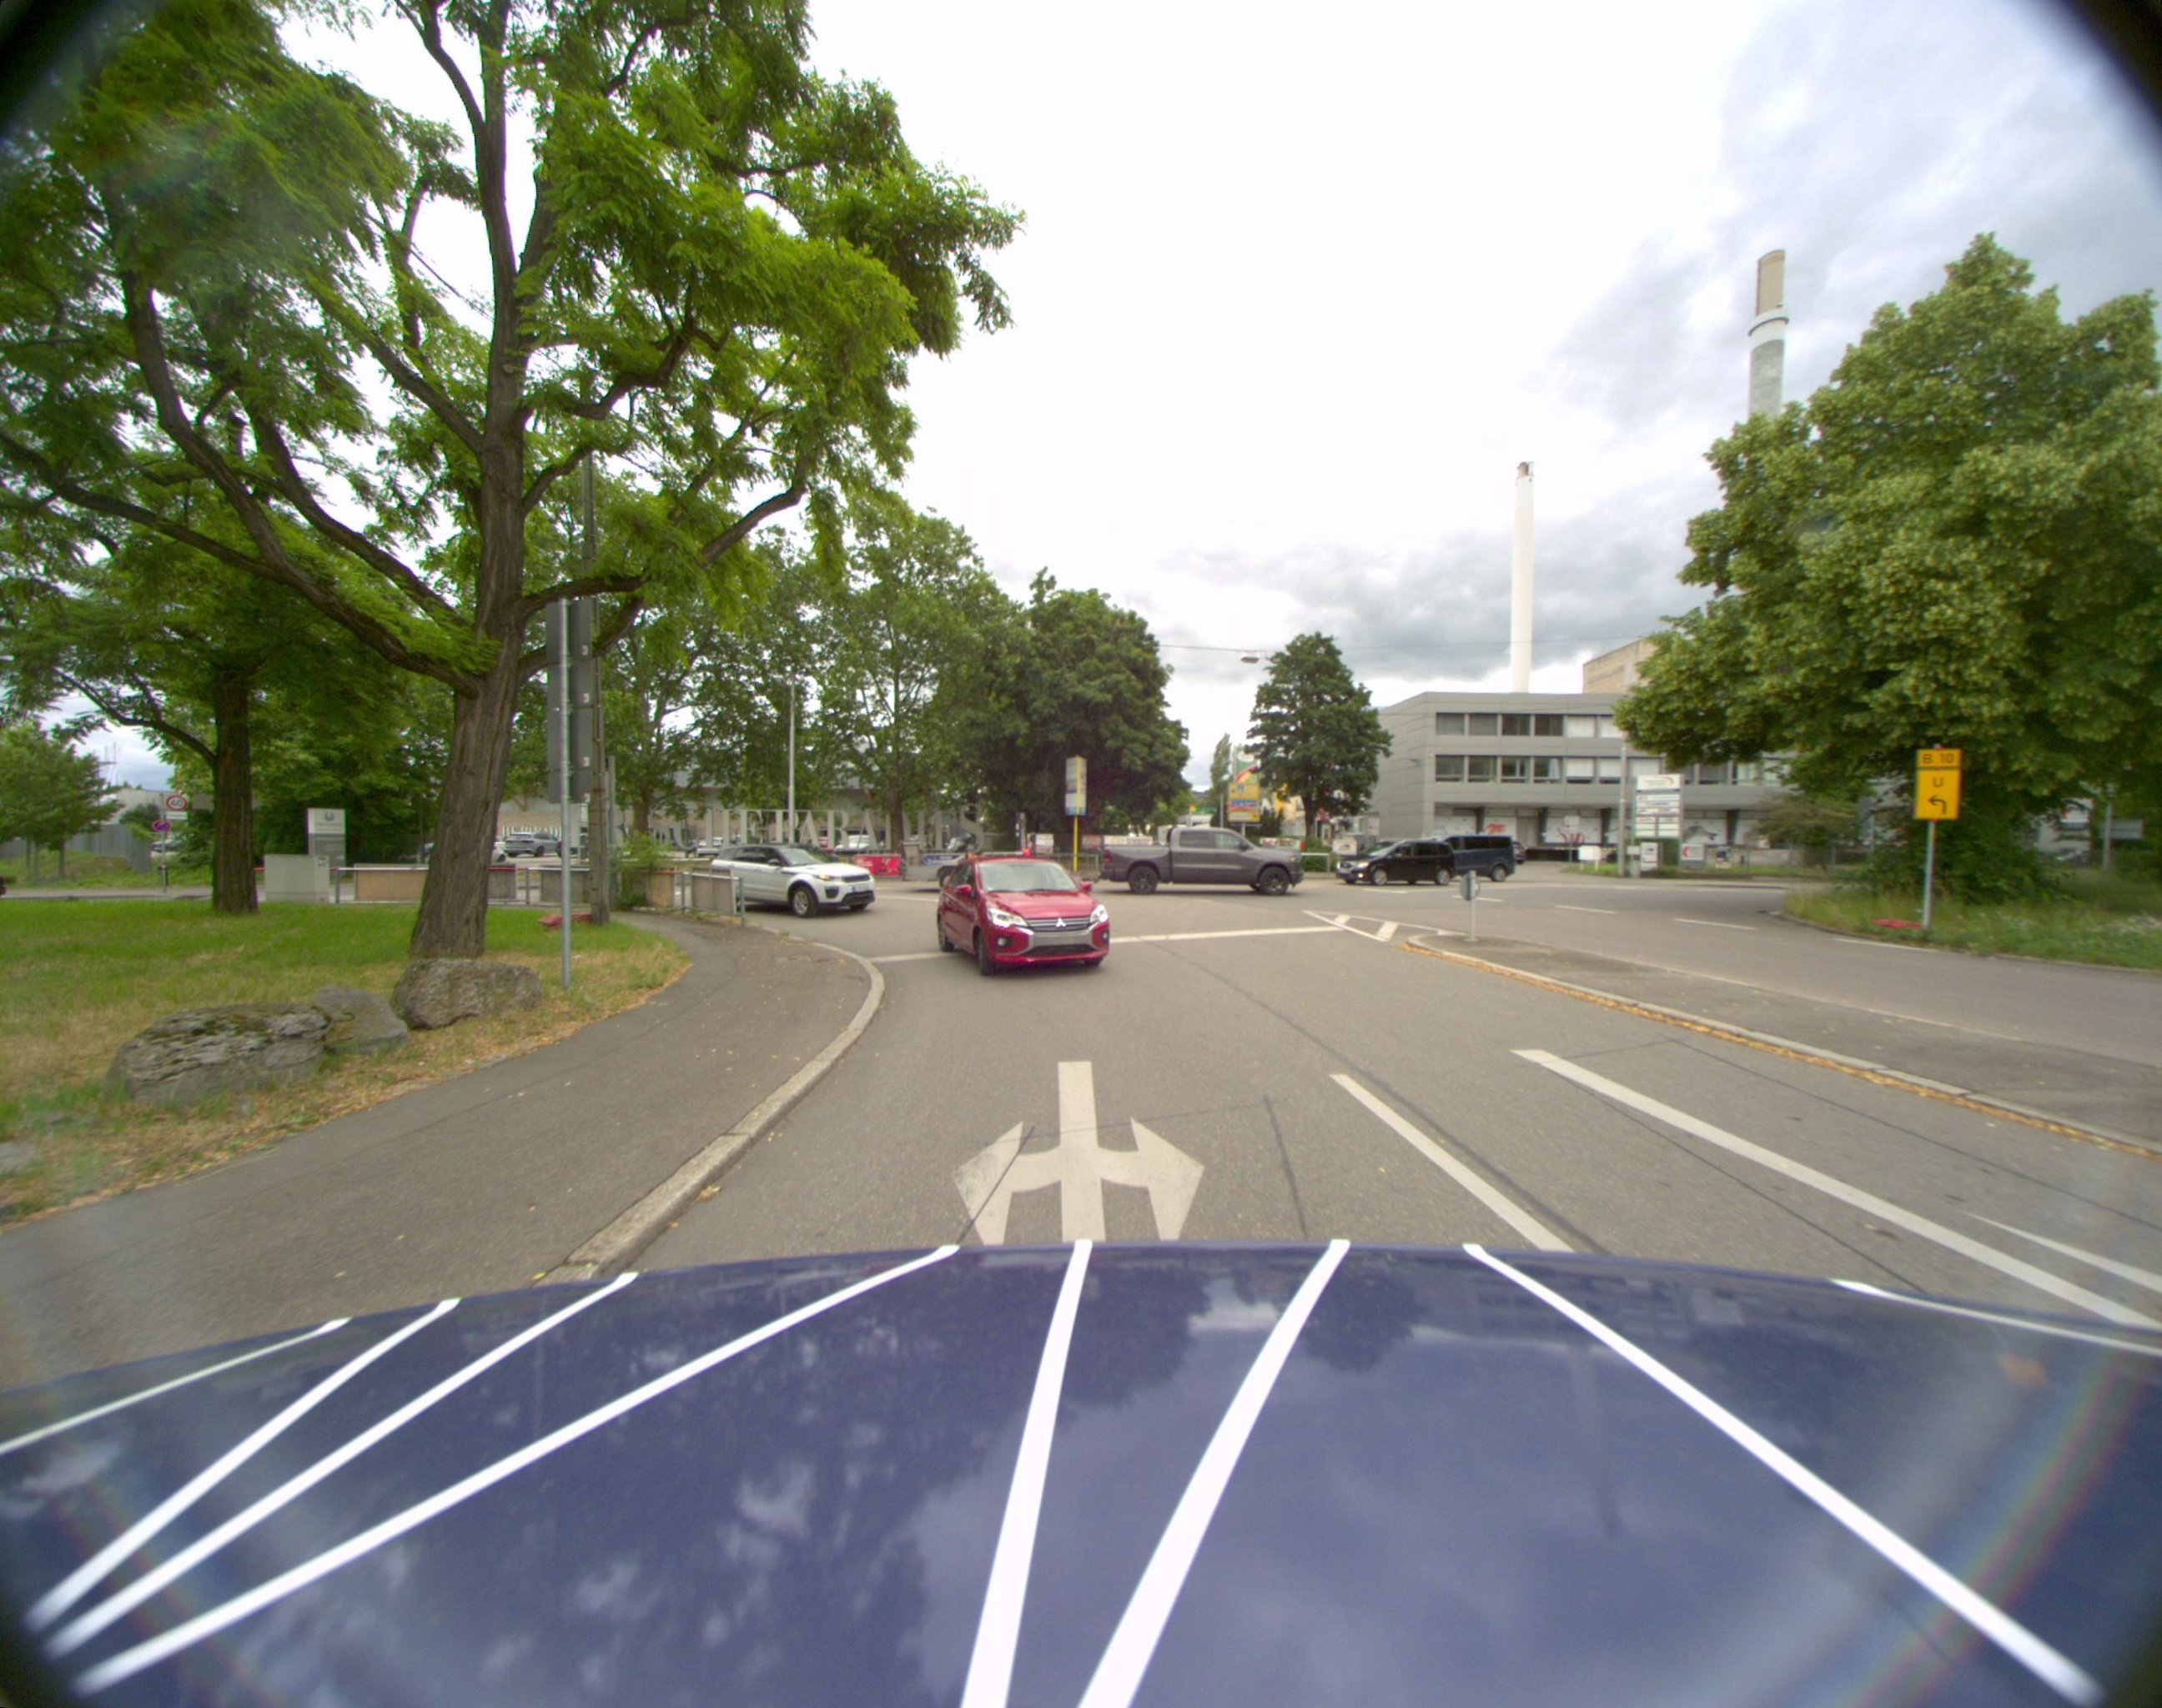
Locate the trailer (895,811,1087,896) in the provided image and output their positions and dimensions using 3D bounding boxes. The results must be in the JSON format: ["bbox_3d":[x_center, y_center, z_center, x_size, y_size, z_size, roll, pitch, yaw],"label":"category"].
[{"bbox_3d":[-2.560,-0.023,22.627,5.383,2.374,2.151,0,1,3],"label":"trailer"}]

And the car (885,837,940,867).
[{"bbox_3d":[-9.611,-0.161,43.788,1.998,1.449,4.698,-3,3,1],"label":"car"}]

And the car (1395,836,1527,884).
[{"bbox_3d":[15.914,0.208,31.897,4.803,1.934,1.831,0,1,-9],"label":"car"}]

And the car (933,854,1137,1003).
[{"bbox_3d":[-0.827,0.835,10.567,1.770,1.521,3.732,-2,2,-21],"label":"car"}]

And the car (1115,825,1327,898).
[{"bbox_3d":[3.950,0.163,22.257,5.865,1.969,1.950,1,3,3],"label":"car"}]

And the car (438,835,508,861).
[{"bbox_3d":[-41.117,-0.445,51.491,1.917,1.690,3.996,0,1,-9],"label":"car"}]

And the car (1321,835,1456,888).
[{"bbox_3d":[10.963,0.275,27.154,4.233,1.761,1.830,2,0,-17],"label":"car"}]

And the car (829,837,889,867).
[{"bbox_3d":[-12.752,-0.147,43.946,1.998,1.449,4.698,-3,3,1],"label":"car"}]

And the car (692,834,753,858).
[{"bbox_3d":[-25.504,-0.595,54.273,1.937,1.423,5.248,-3,3,-3],"label":"car"}]

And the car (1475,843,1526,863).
[{"bbox_3d":[29.945,-0.119,54.355,1.776,1.172,3.572,-3,3,4],"label":"car"}]

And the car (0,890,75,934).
[{"bbox_3d":[-41.637,2.089,28.743,5.213,1.447,2.004,3,-6,10],"label":"car"}]

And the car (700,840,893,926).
[{"bbox_3d":[-6.717,0.592,17.951,4.102,1.562,1.919,3,6,26],"label":"car"}]

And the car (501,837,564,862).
[{"bbox_3d":[-38.002,-0.313,52.770,1.917,1.690,3.996,0,1,-9],"label":"car"}]

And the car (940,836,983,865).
[{"bbox_3d":[-6.920,-0.261,44.397,1.999,1.449,4.696,-3,3,-4],"label":"car"}]
